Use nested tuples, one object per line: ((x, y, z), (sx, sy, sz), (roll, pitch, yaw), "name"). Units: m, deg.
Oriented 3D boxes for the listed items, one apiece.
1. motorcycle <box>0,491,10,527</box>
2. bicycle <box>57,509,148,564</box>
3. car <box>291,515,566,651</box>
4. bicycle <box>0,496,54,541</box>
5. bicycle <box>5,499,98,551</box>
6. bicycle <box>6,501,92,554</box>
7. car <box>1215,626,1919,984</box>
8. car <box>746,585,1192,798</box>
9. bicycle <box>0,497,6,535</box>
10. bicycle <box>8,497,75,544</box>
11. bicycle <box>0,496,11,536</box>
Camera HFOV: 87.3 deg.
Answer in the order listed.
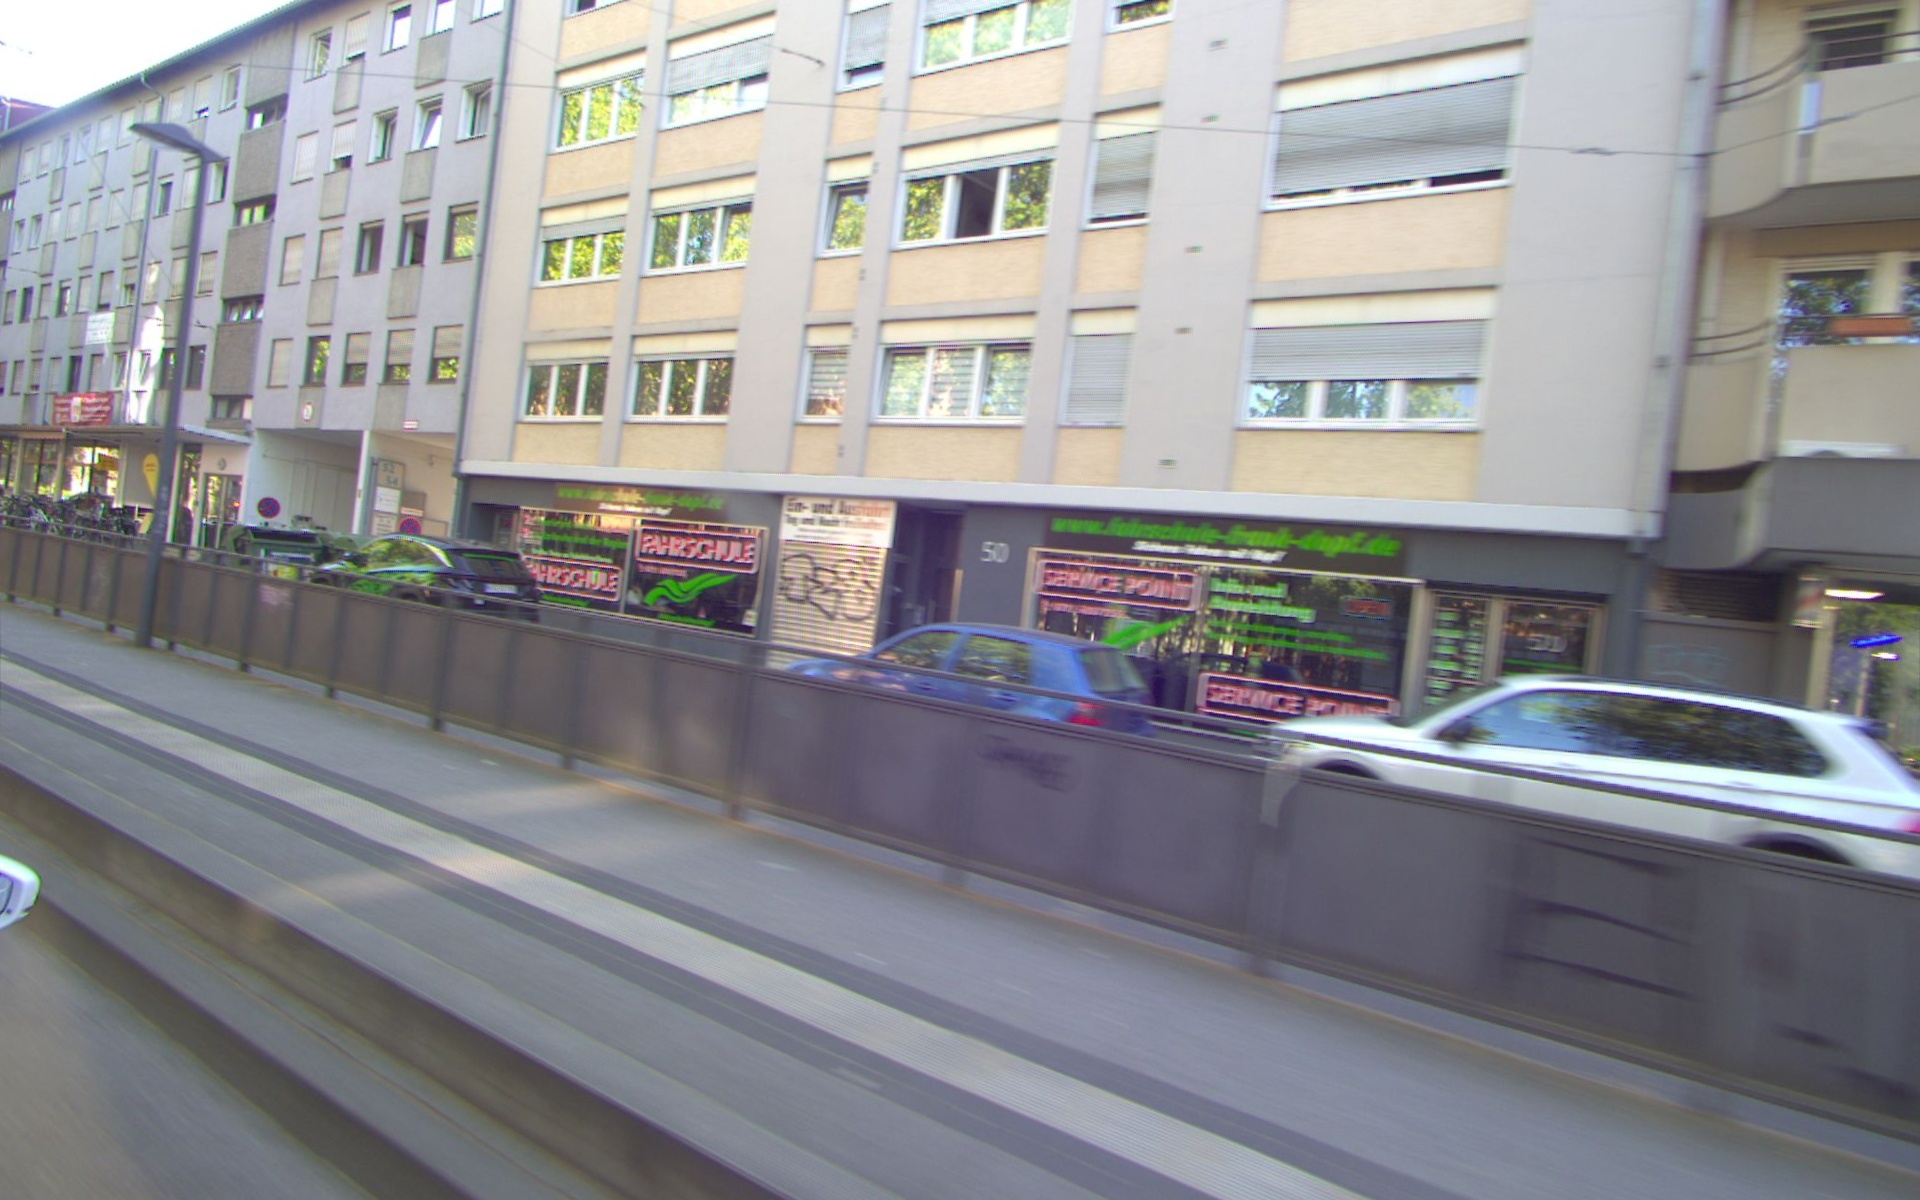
((-35.909, -3.440, 36.933), (2.009, 1.295, 0.893), (6, -1, 32), "motorcycle")
((-22.402, -1.674, 26.265), (2.394, 1.149, 0.623), (7, -1, 21), "bicycle")
((-8.585, -0.297, 16.161), (4.325, 1.634, 1.861), (6, -2, 32), "car")
((-28.492, -2.478, 30.417), (2.163, 1.149, 0.599), (7, -1, 21), "bicycle")
((-25.559, -2.124, 28.285), (2.867, 1.149, 0.613), (7, -1, 21), "bicycle")
((-24.632, -1.959, 27.190), (2.389, 1.149, 0.604), (7, -1, 21), "bicycle")
((4.399, 1.299, 7.555), (4.342, 1.624, 1.803), (6, -2, 32), "car")
((0.014, 0.845, 10.373), (4.177, 1.457, 1.747), (6, -2, 32), "car")
((-30.635, -2.729, 31.278), (2.165, 1.149, 0.599), (7, -1, 26), "bicycle")
((-26.886, -2.322, 29.439), (2.163, 1.149, 0.411), (7, -1, 21), "bicycle")
((-29.696, -2.641, 30.336), (2.163, 1.149, 0.599), (7, -1, 21), "bicycle")
